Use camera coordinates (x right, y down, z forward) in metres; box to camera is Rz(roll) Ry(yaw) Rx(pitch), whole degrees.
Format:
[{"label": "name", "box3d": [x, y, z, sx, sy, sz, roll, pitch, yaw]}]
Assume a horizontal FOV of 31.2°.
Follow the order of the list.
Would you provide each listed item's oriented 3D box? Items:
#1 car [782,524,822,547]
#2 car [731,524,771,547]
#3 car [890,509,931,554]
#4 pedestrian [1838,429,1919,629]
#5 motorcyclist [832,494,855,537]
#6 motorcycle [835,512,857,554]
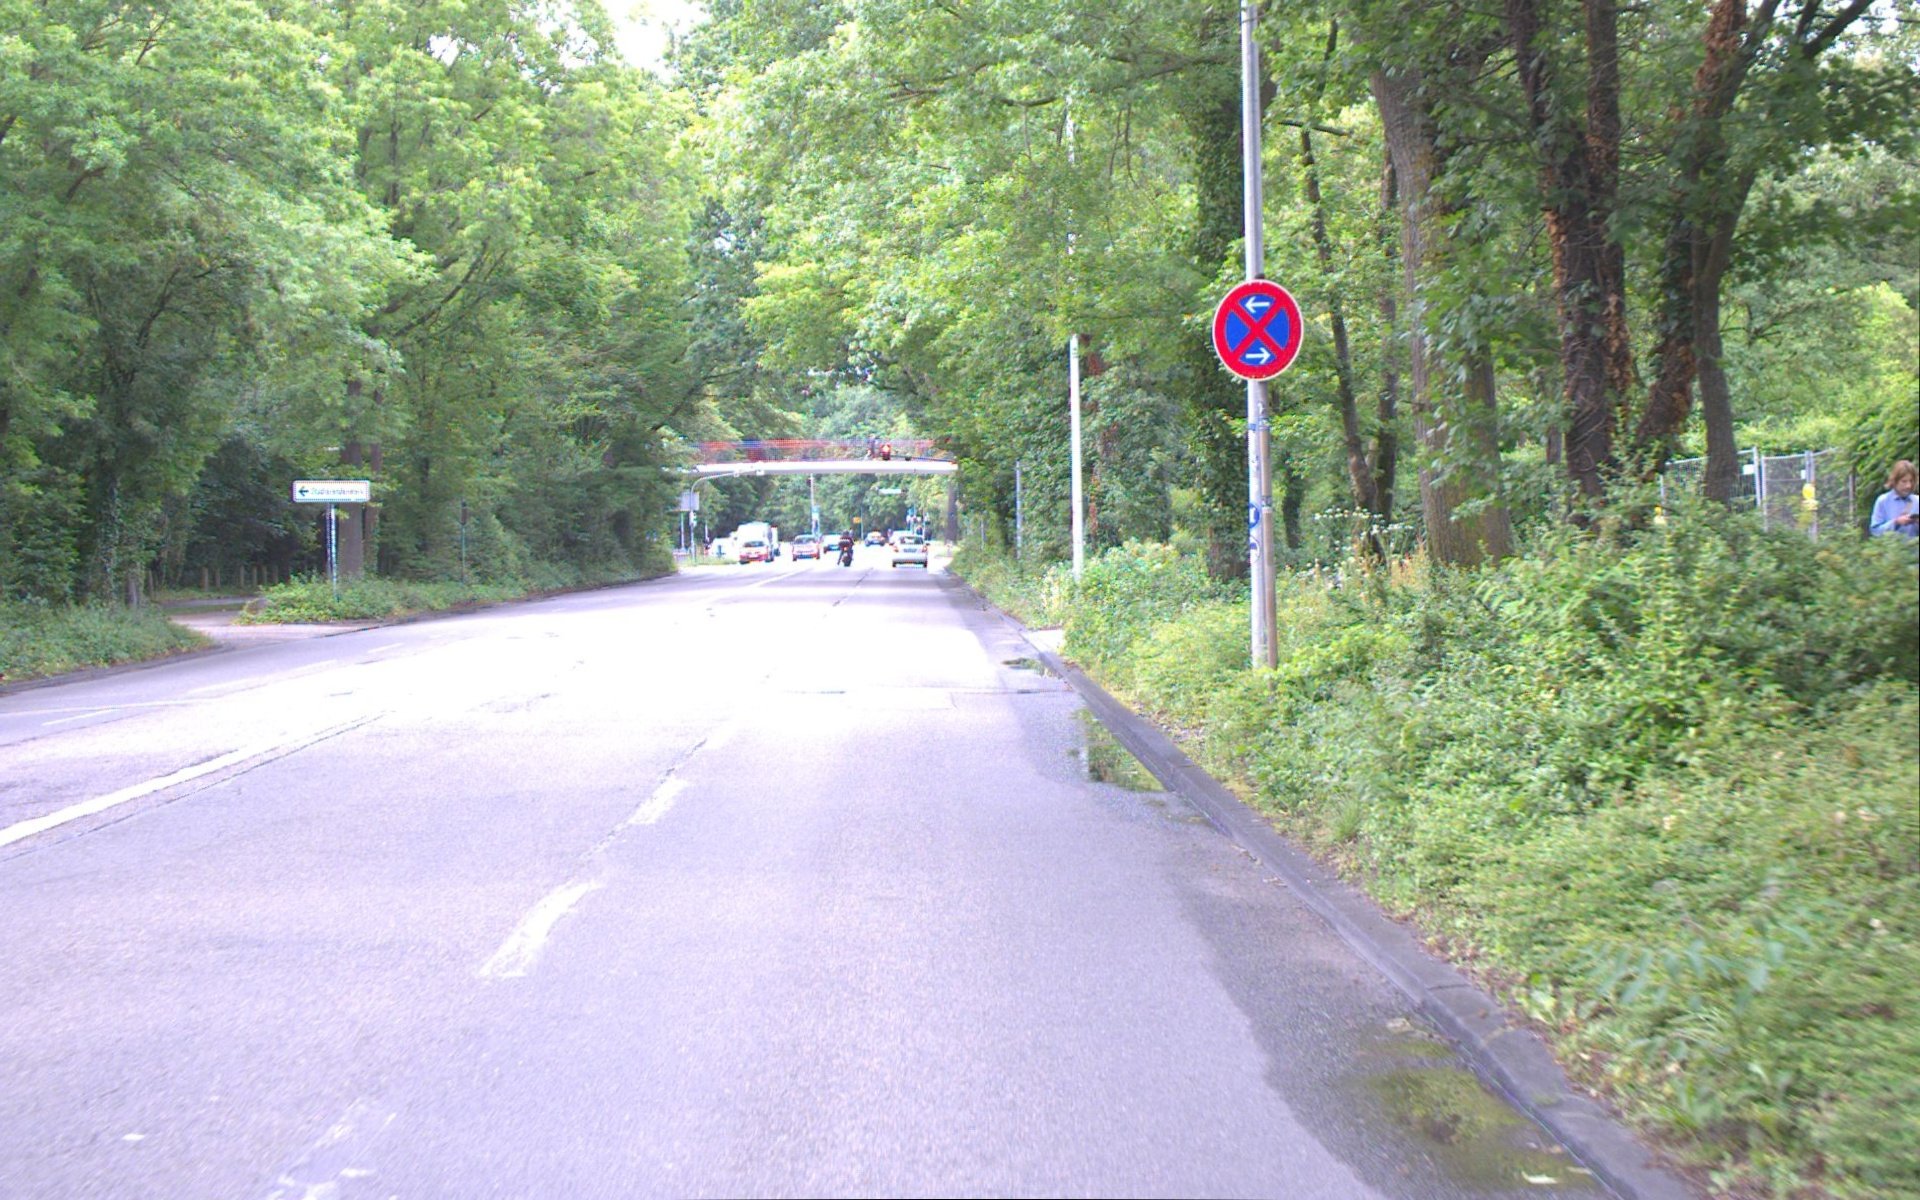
[{"label": "car", "box3d": [-9.364, -3.831, 203.793, 1.675, 1.357, 3.920, 0, 2, 8]}, {"label": "car", "box3d": [-12.355, -3.828, 203.523, 1.993, 1.349, 3.895, 0, 2, 2]}, {"label": "car", "box3d": [-2.255, -3.133, 156.665, 1.843, 2.007, 4.000, 0, 2, -1]}, {"label": "pedestrian", "box3d": [7.821, -0.605, 28.986, 0.572, 1.645, 0.820, -2, 2, 0]}, {"label": "motorcyclist", "box3d": [-5.434, -3.953, 160.240, 1.063, 2.007, 0.843, 0, 1, -1]}, {"label": "motorcycle", "box3d": [-5.314, -3.139, 160.289, 0.990, 1.929, 2.669, 0, 1, -1]}]
